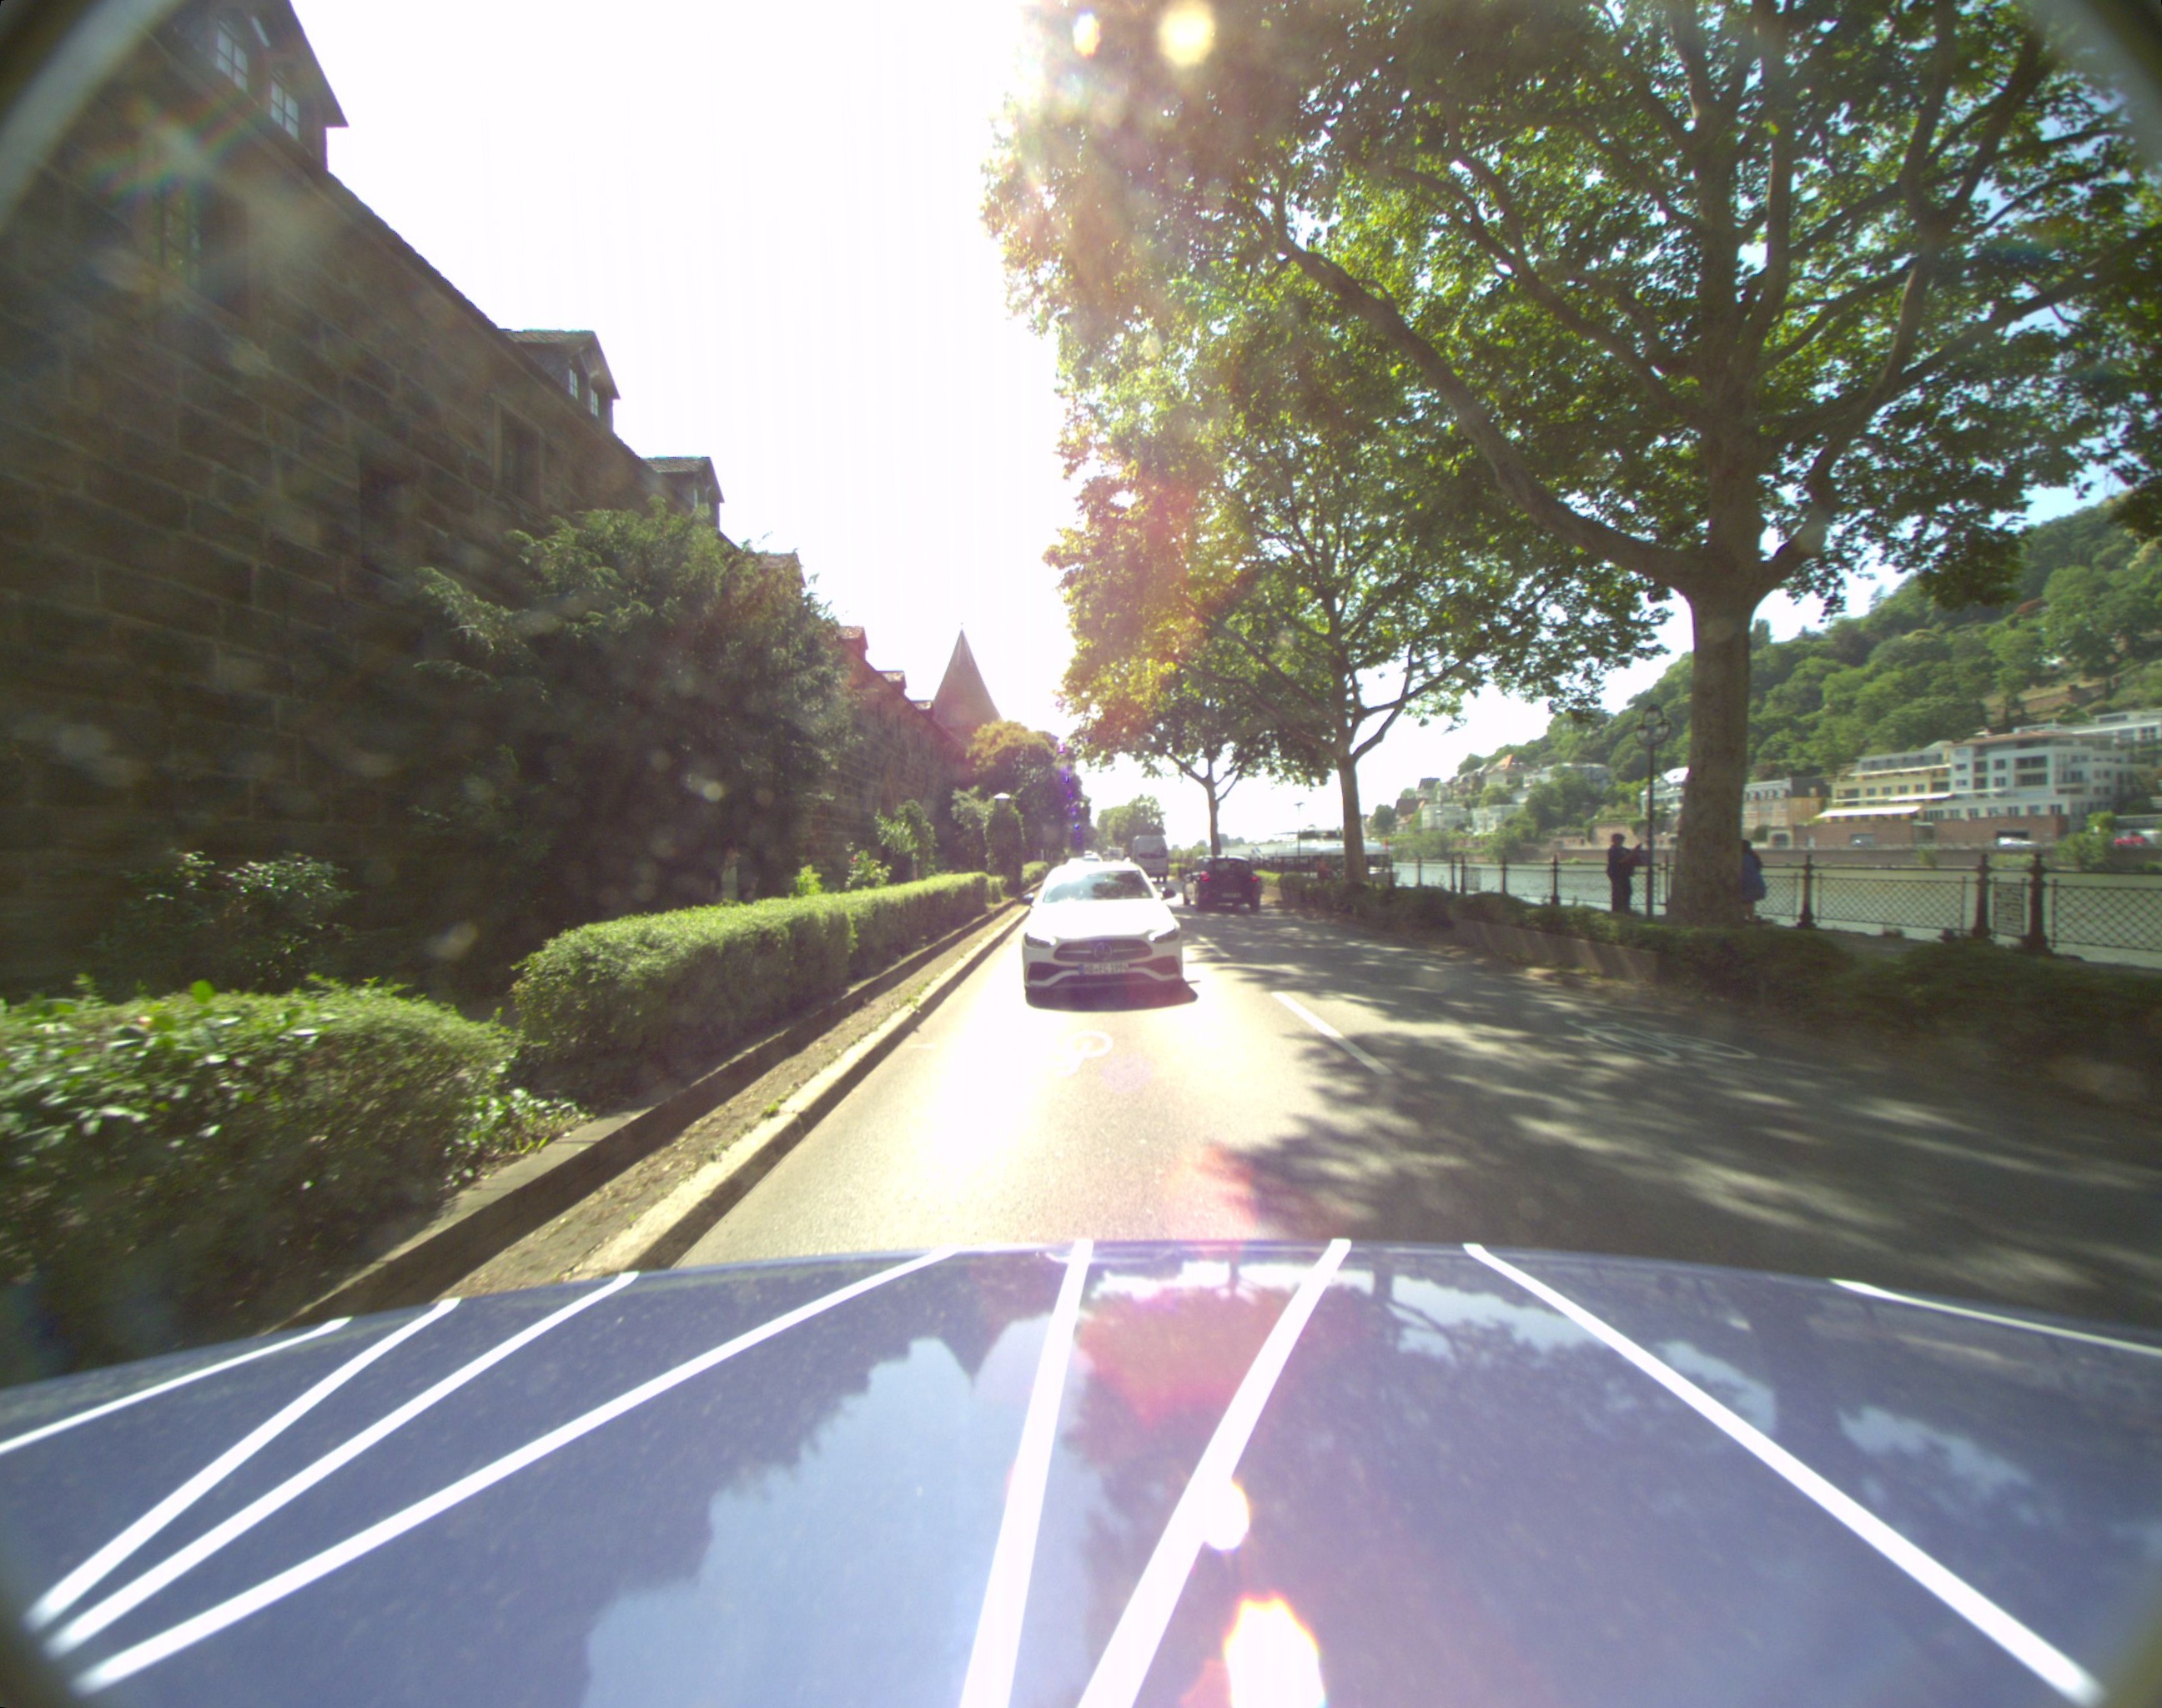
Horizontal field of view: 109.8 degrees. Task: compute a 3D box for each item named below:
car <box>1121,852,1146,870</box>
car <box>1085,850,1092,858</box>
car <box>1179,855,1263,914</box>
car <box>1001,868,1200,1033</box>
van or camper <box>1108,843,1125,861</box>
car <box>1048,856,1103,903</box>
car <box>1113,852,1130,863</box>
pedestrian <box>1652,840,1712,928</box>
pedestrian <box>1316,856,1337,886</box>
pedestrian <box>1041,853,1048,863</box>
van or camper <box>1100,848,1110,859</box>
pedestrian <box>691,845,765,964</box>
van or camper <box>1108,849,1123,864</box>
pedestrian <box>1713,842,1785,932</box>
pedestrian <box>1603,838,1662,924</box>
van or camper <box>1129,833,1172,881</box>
[{"bbox_3d":[4.422,0.599,64.563,1.774,1.448,4.533,0,0,0],"label":"car"},{"bbox_3d":[2.036,-0.053,205.305,1.923,1.975,3.999,0,0,0],"label":"car"},{"bbox_3d":[3.837,0.783,21.326,1.653,1.460,3.779,0,0,0],"label":"car"},{"bbox_3d":[0.208,0.950,9.360,1.829,1.418,4.358,-2,0,1],"label":"car"},{"bbox_3d":[5.328,-0.365,115.860,2.328,2.647,6.264,1,1,0],"label":"van or camper"},{"bbox_3d":[-0.144,0.856,27.323,1.854,1.543,3.848,0,0,1],"label":"car"},{"bbox_3d":[5.188,0.501,98.305,1.703,1.204,3.484,5,0,-3],"label":"car"},{"bbox_3d":[12.478,0.609,15.788,0.705,1.787,0.705,-1,1,2],"label":"pedestrian"},{"bbox_3d":[10.756,0.728,33.274,0.704,1.300,0.656,0,1,1],"label":"pedestrian"},{"bbox_3d":[-4.252,0.470,88.314,0.632,1.186,0.747,-3,1,3],"label":"pedestrian"},{"bbox_3d":[4.747,-0.112,151.151,1.923,1.975,3.999,0,0,0],"label":"van or camper"},{"bbox_3d":[-5.065,0.702,10.937,0.700,1.643,0.705,0,1,3],"label":"pedestrian"},{"bbox_3d":[6.090,0.412,133.931,2.328,2.647,6.264,1,1,0],"label":"van or camper"},{"bbox_3d":[12.285,0.588,13.988,0.705,1.594,0.705,-1,1,2],"label":"pedestrian"},{"bbox_3d":[11.262,0.533,15.543,0.705,1.721,0.705,-1,1,2],"label":"pedestrian"},{"bbox_3d":[3.997,0.139,44.628,1.965,2.552,5.840,1,1,1],"label":"van or camper"}]
